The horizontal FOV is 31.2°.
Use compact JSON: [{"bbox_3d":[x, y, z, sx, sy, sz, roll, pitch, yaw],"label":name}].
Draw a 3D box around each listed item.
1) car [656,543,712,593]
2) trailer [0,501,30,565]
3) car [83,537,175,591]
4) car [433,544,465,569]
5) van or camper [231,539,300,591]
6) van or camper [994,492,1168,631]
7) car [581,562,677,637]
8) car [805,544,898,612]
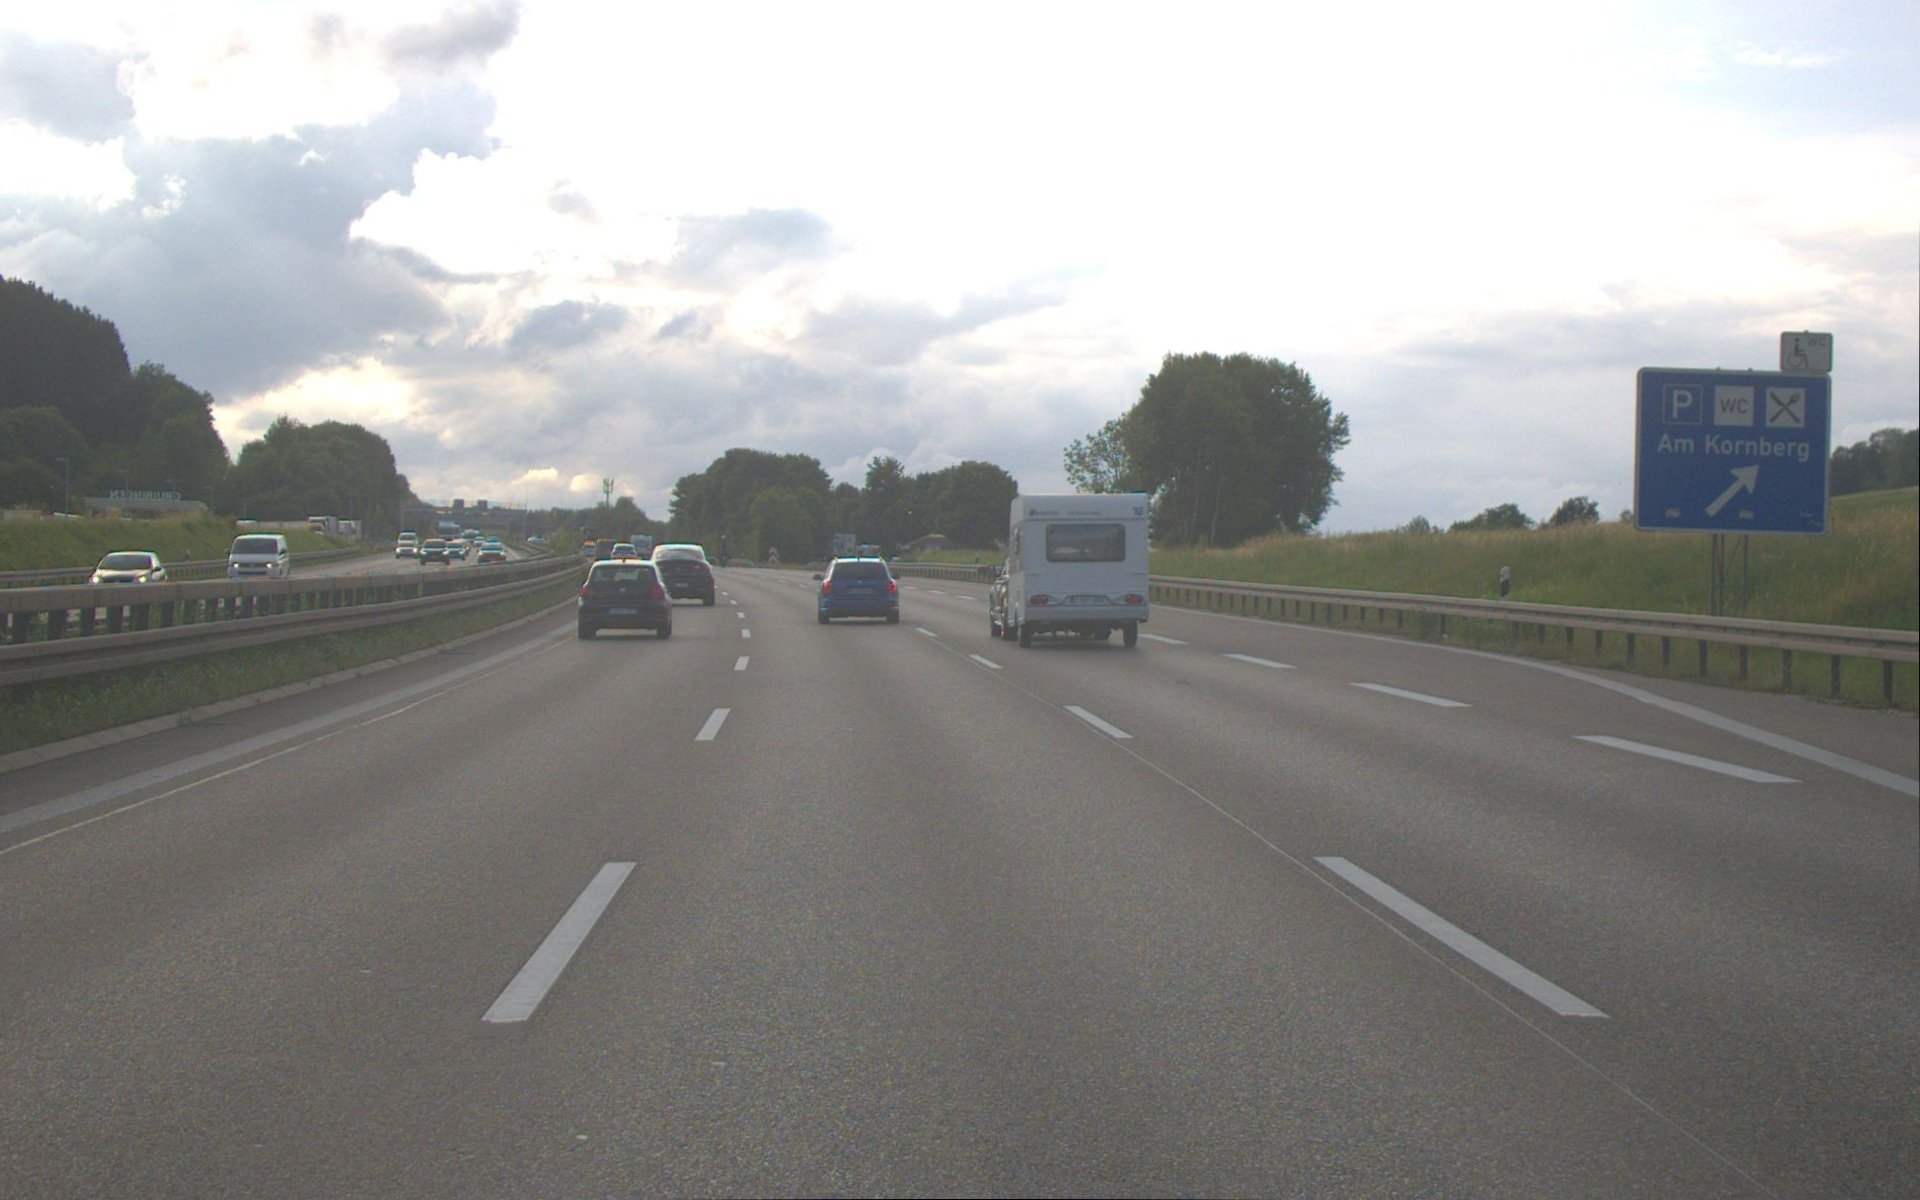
[{"bbox_3d":[-7.829,-0.929,97.481,1.565,1.375,4.001,0,1,-5],"label":"car"},{"bbox_3d":[-56.940,-3.905,202.048,2.876,3.683,10.375,-1,1,-7],"label":"trailer"},{"bbox_3d":[-23.591,-1.024,97.745,1.993,1.492,4.693,0,1,-7],"label":"car"},{"bbox_3d":[-33.937,-2.880,228.220,1.807,1.608,4.342,1,0,-5],"label":"car"},{"bbox_3d":[-25.783,-1.310,127.776,1.915,1.867,4.755,0,1,-4],"label":"van or camper"},{"bbox_3d":[1.976,-0.604,57.994,2.547,2.232,5.329,0,0,-2],"label":"van or camper"},{"bbox_3d":[-6.127,-0.018,63.945,1.538,1.343,3.677,0,0,-2],"label":"car"},{"bbox_3d":[-2.405,-0.479,75.434,1.766,1.428,4.001,-1,0,-5],"label":"car"}]
